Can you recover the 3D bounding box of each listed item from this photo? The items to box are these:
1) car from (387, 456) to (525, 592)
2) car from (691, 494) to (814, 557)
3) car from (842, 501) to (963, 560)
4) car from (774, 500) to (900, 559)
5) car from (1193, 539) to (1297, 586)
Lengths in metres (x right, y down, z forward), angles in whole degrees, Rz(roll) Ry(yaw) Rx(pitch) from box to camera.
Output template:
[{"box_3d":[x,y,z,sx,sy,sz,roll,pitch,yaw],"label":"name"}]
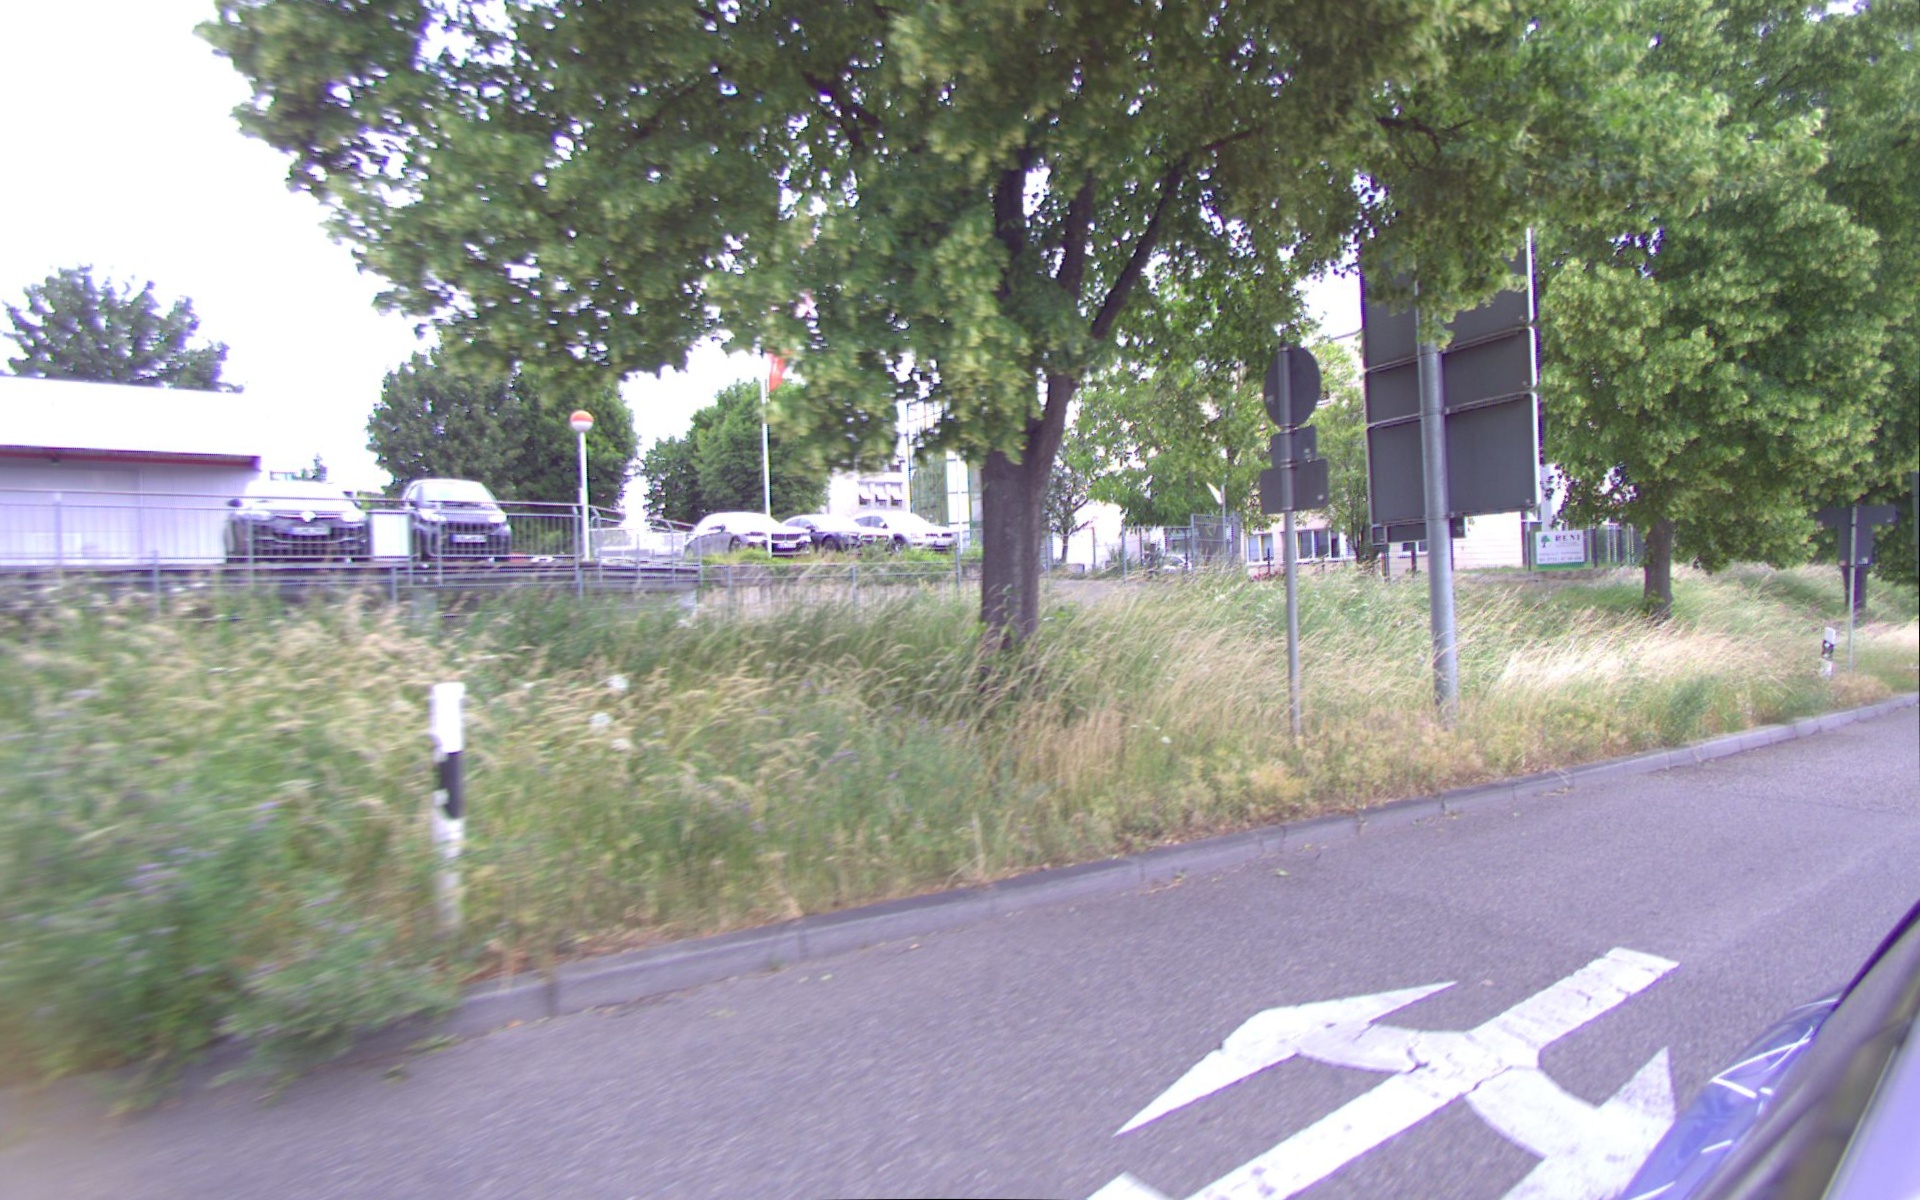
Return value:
[{"box_3d":[-8.829,-1.182,17.590,1.612,1.984,3.766,0,-1,-35],"label":"car"},{"box_3d":[-5.361,-1.826,25.806,1.722,1.381,3.767,0,1,-35],"label":"car"},{"box_3d":[-1.747,-1.975,29.499,1.722,1.501,3.939,0,1,-35],"label":"car"},{"box_3d":[-3.392,-1.836,27.246,1.722,1.385,3.939,0,1,-35],"label":"car"},{"box_3d":[10.113,-1.296,36.100,1.546,1.529,3.371,0,-1,-32],"label":"car"}]
